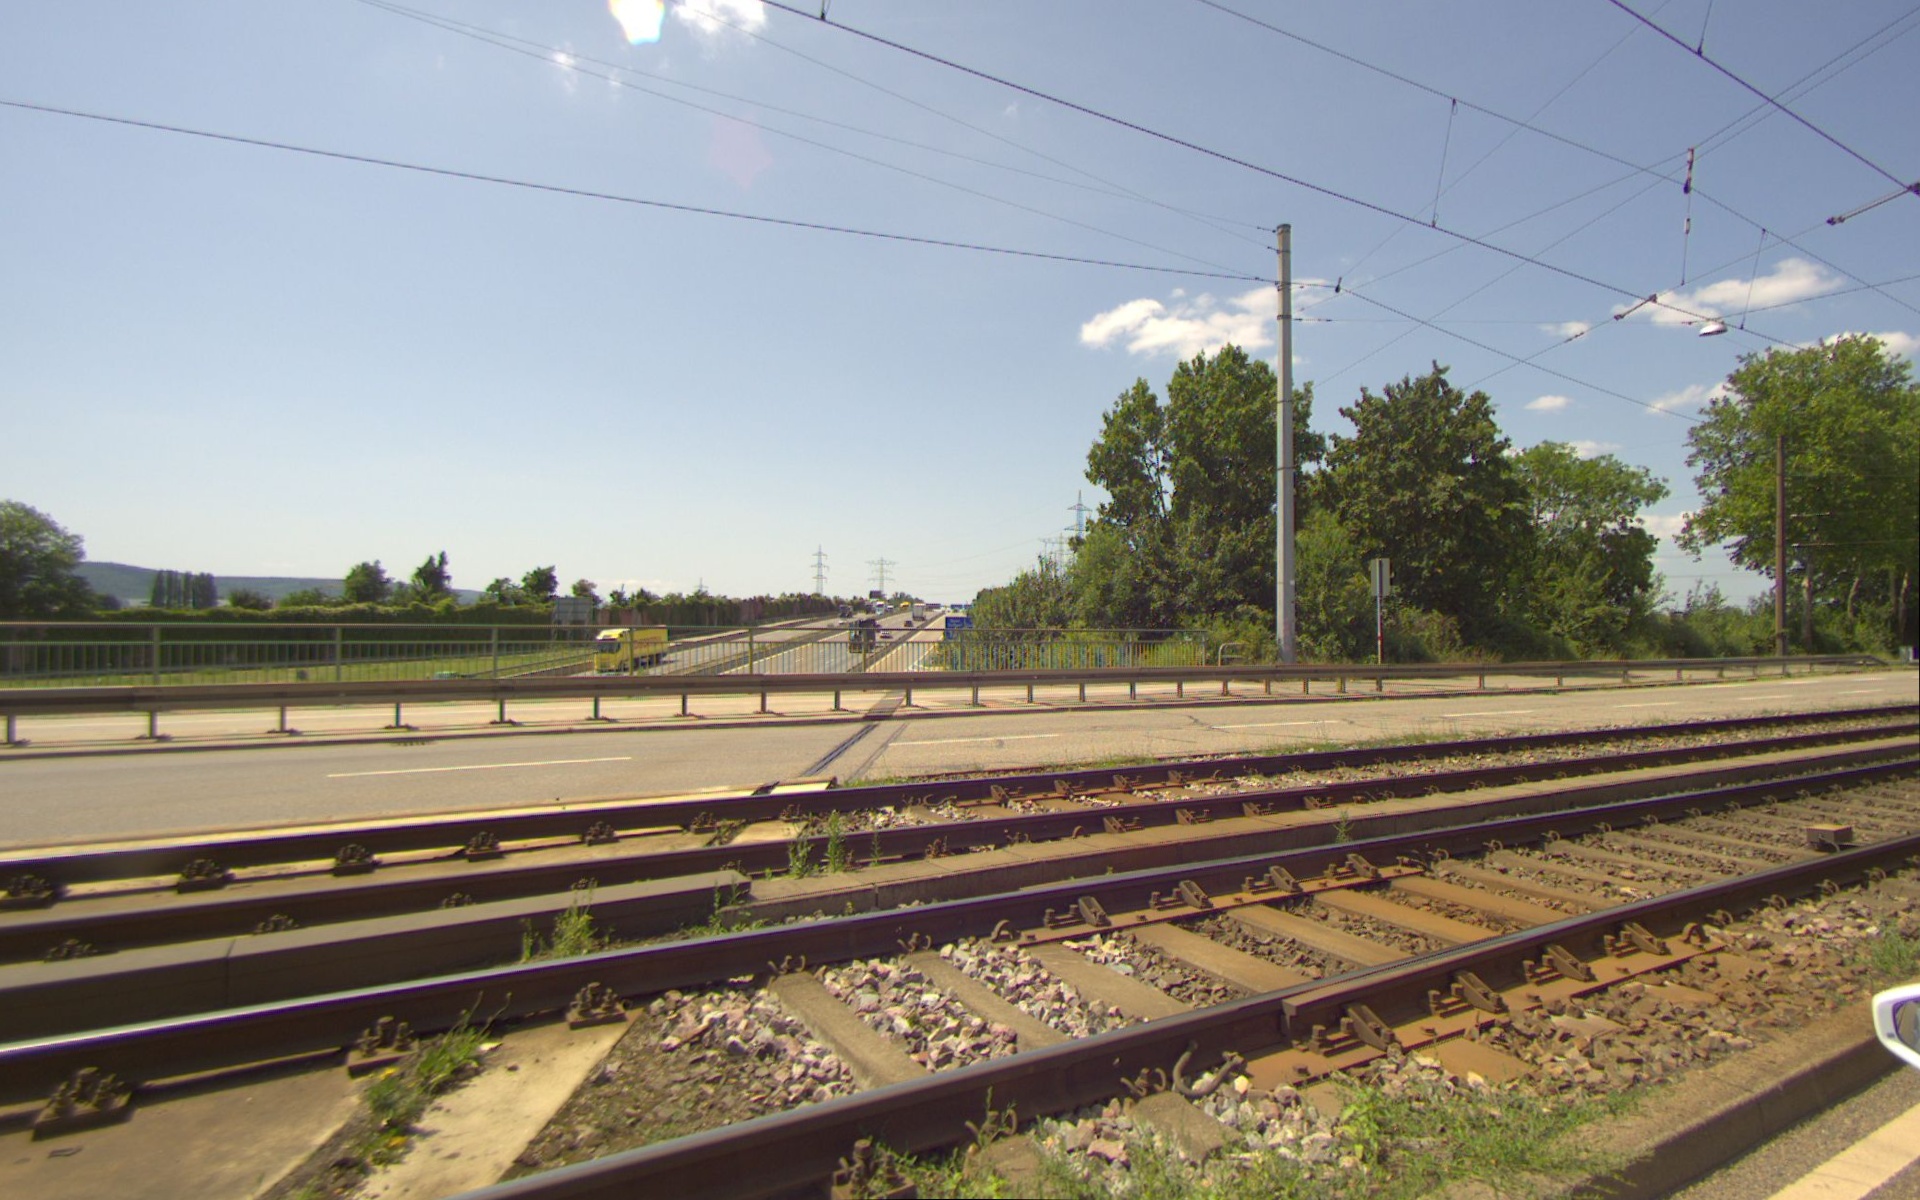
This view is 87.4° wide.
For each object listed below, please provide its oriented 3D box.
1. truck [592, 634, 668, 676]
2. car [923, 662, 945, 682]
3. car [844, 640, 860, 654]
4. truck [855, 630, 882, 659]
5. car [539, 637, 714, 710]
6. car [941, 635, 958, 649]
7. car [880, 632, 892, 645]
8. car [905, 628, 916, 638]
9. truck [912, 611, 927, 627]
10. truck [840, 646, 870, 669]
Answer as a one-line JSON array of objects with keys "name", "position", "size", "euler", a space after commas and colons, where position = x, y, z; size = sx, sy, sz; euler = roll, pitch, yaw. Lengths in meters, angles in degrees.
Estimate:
[{"name": "truck", "position": [-35.483, 5.766, 109.048], "size": [2.588, 3.811, 16.555], "euler": [1, -1, 1]}, {"name": "car", "position": [-2.924, 8.121, 113.795], "size": [1.960, 2.040, 4.002], "euler": [3, -1, 5]}, {"name": "car", "position": [-16.419, 7.082, 153.070], "size": [1.564, 1.665, 4.001], "euler": [3, 3, 6]}, {"name": "truck", "position": [-13.047, 6.307, 143.461], "size": [2.735, 3.499, 6.587], "euler": [3, 2, 4]}, {"name": "car", "position": [-26.503, 5.604, 82.755], "size": [4.919, 4.547, 22.469], "euler": [1, -1, 6]}, {"name": "car", "position": [-1.521, 5.959, 143.242], "size": [1.705, 1.665, 4.001], "euler": [3, 3, 9]}, {"name": "car", "position": [-12.566, 6.552, 170.453], "size": [1.706, 1.664, 3.998], "euler": [3, 3, -1]}, {"name": "car", "position": [-10.714, 7.190, 218.375], "size": [1.896, 1.665, 4.001], "euler": [2, 3, 5]}, {"name": "truck", "position": [-10.211, 4.771, 256.436], "size": [3.592, 3.756, 8.198], "euler": [0, 2, -1]}, {"name": "truck", "position": [-13.527, 7.395, 129.670], "size": [2.835, 2.239, 6.450], "euler": [2, 3, 3]}]
